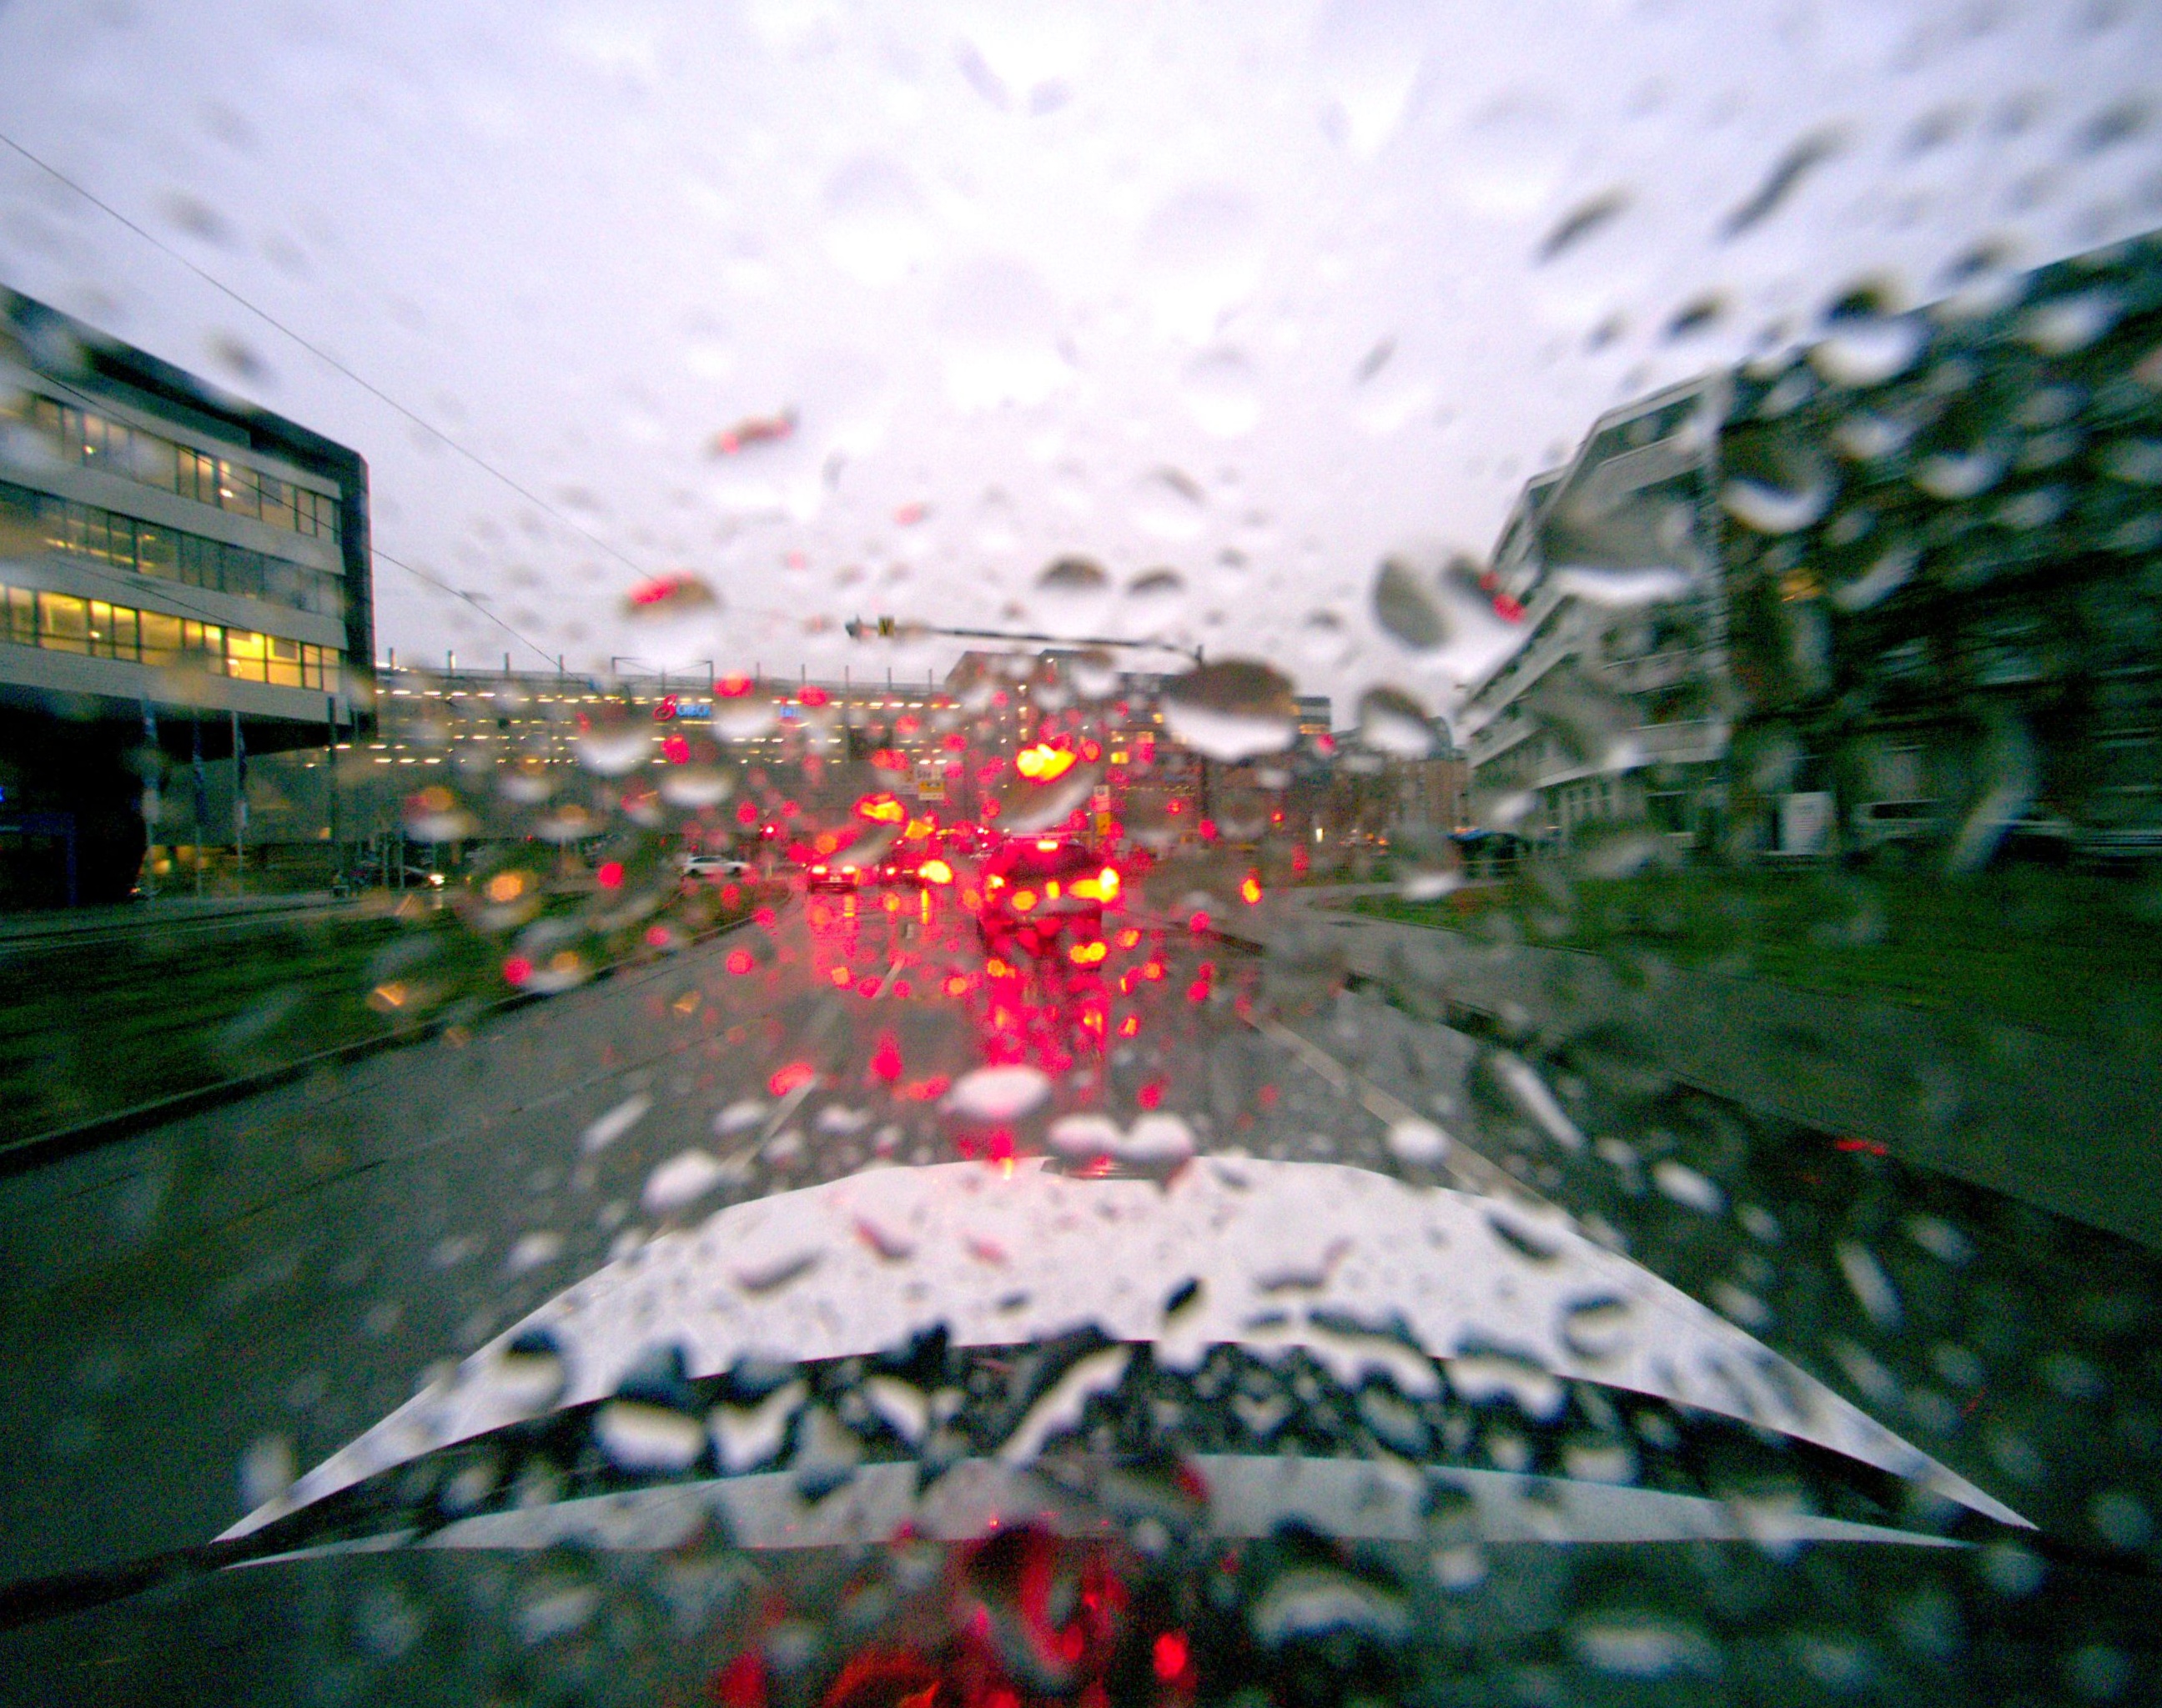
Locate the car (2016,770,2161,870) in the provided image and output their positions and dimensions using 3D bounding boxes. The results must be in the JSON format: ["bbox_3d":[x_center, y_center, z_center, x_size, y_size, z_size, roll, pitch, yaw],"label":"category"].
[{"bbox_3d":[19.510,-0.641,14.622,3.992,1.636,1.935,-3,0,-14],"label":"car"}]

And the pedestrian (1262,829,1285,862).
[{"bbox_3d":[11.332,-0.476,47.990,1.164,1.924,0.900,1,0,6],"label":"pedestrian"}]

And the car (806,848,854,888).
[{"bbox_3d":[-10.848,0.584,35.045,1.759,1.574,3.972,-2,0,-20],"label":"car"}]

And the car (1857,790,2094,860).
[{"bbox_3d":[26.737,-0.802,24.642,4.690,1.919,2.012,1,0,45],"label":"car"}]

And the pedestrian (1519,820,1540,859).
[{"bbox_3d":[20.146,-0.649,36.562,0.670,1.714,0.608,1,0,13],"label":"pedestrian"}]

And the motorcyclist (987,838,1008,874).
[{"bbox_3d":[-3.648,0.084,35.583,0.867,1.534,1.106,-2,0,-5],"label":"motorcyclist"}]

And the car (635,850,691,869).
[{"bbox_3d":[-44.290,0.601,86.501,5.099,1.962,1.877,1,0,-23],"label":"car"}]

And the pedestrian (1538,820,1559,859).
[{"bbox_3d":[20.870,-0.638,36.350,0.671,1.714,0.632,1,0,13],"label":"pedestrian"}]

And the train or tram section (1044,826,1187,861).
[{"bbox_3d":[3.943,-1.207,86.283,16.718,3.260,2.313,-2,0,-32],"label":"train or tram section"}]

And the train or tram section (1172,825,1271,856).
[{"bbox_3d":[16.384,-1.634,94.022,13.045,3.260,2.313,-2,0,-32],"label":"train or tram section"}]

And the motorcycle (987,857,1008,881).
[{"bbox_3d":[-3.637,0.645,35.602,0.851,0.971,1.579,-2,0,-4],"label":"motorcycle"}]

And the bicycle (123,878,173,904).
[{"bbox_3d":[-42.218,1.652,36.883,0.554,1.090,1.606,-2,0,-9],"label":"bicycle"}]

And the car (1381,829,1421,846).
[{"bbox_3d":[39.448,-2.051,100.418,4.965,2.013,1.980,1,0,-31],"label":"car"}]

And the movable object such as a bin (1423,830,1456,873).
[{"bbox_3d":[13.071,-0.103,29.722,1.019,1.495,1.336,-1,0,21],"label":"movable object such as a bin"}]

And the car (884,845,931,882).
[{"bbox_3d":[-8.401,0.449,39.215,1.642,1.697,3.645,-1,0,-21],"label":"car"}]

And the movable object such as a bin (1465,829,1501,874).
[{"bbox_3d":[13.652,-0.084,27.635,1.024,1.490,1.047,1,0,30],"label":"movable object such as a bin"}]

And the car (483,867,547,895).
[{"bbox_3d":[-32.475,1.524,46.860,1.826,1.435,4.625,1,0,-19],"label":"car"}]

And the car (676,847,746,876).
[{"bbox_3d":[-26.244,0.537,57.814,4.377,2.013,1.983,1,0,-26],"label":"car"}]

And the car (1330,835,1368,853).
[{"bbox_3d":[31.406,-1.189,95.405,4.008,2.013,1.983,0,0,-27],"label":"car"}]

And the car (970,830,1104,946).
[{"bbox_3d":[-0.939,0.519,14.410,1.736,1.738,4.229,1,0,-12],"label":"car"}]

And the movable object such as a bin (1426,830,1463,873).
[{"bbox_3d":[12.490,-0.104,28.019,1.005,1.416,1.230,-3,0,21],"label":"movable object such as a bin"}]
